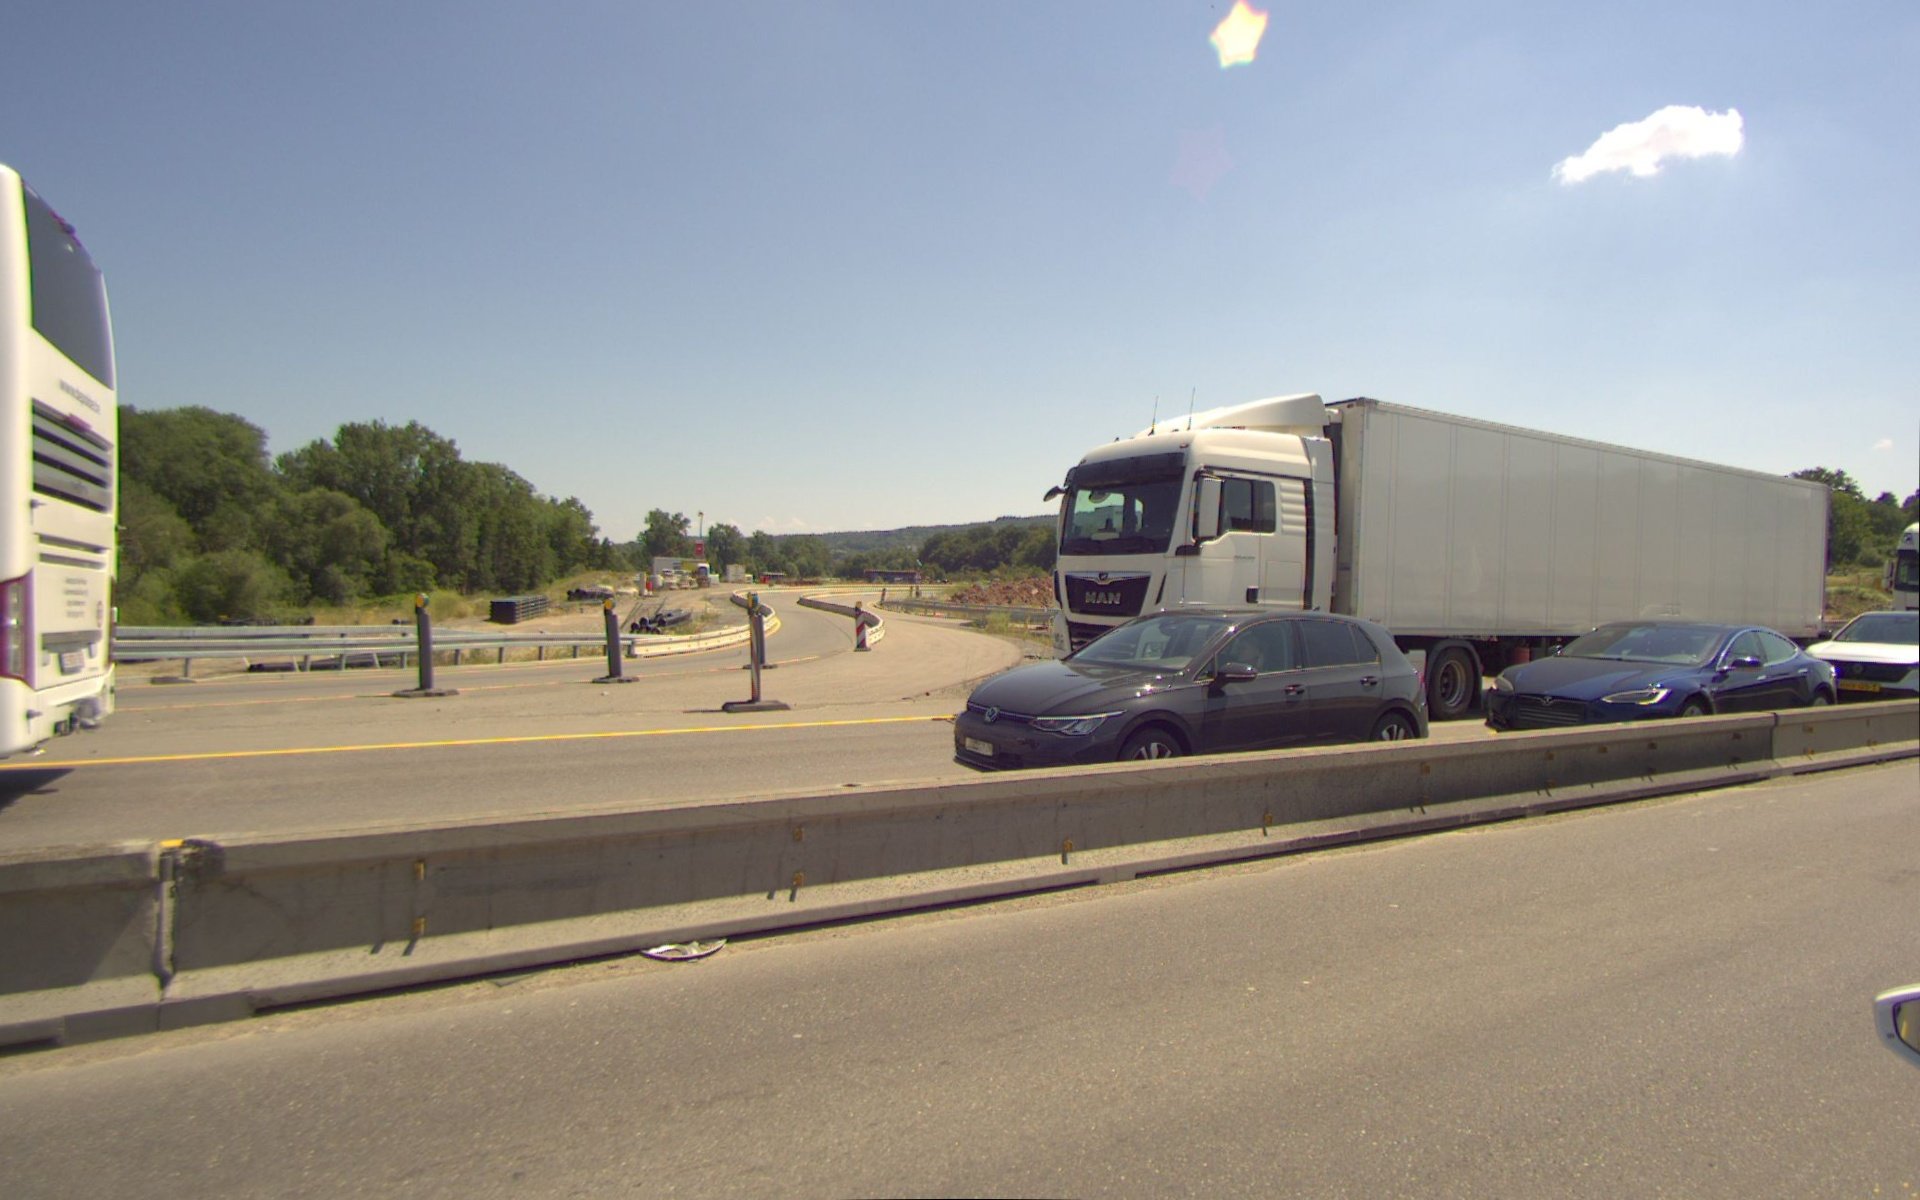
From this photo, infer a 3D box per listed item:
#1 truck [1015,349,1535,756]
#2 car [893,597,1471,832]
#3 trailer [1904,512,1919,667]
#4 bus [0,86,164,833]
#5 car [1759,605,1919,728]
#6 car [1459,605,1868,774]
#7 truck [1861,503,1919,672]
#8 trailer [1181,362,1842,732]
[{"bbox_3d":[4.341,-0.520,13.560,6.624,4.254,3.081,0,1,-31],"label":"truck"},{"bbox_3d":[1.927,0.739,8.187,4.629,1.442,1.823,1,0,-31],"label":"car"},{"bbox_3d":[32.910,-0.236,30.083,13.781,4.265,2.971,0,1,-31],"label":"trailer"},{"bbox_3d":[-12.119,-0.931,3.507,14.307,4.321,2.726,1,0,-31],"label":"bus"},{"bbox_3d":[14.638,0.944,15.570,4.826,1.642,1.983,1,0,-31],"label":"car"},{"bbox_3d":[8.083,0.845,11.414,5.059,1.457,1.804,-1,2,-30],"label":"car"},{"bbox_3d":[26.809,-0.290,26.462,5.807,4.241,2.962,0,1,-31],"label":"truck"},{"bbox_3d":[10.040,-0.614,16.984,13.913,4.442,3.125,0,1,-31],"label":"trailer"}]
